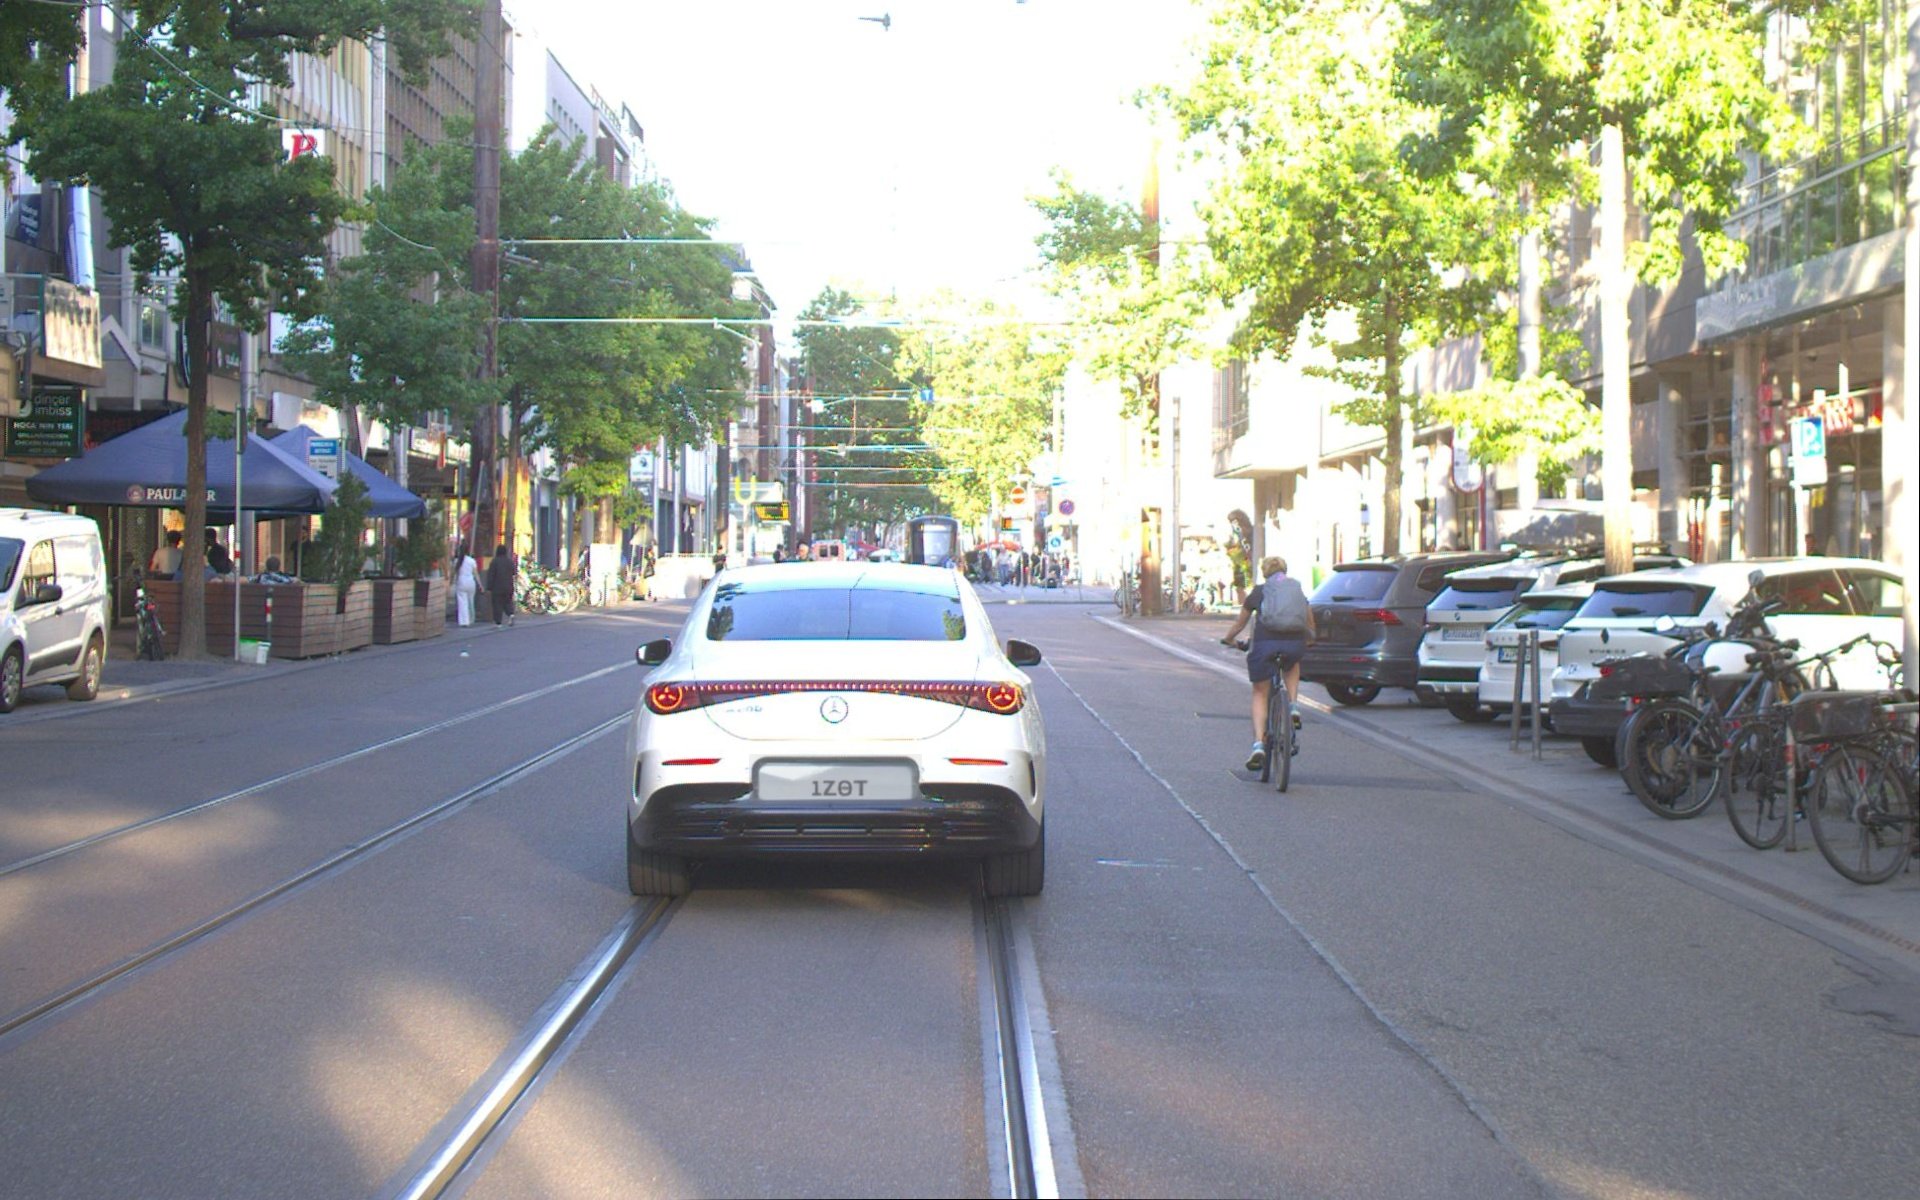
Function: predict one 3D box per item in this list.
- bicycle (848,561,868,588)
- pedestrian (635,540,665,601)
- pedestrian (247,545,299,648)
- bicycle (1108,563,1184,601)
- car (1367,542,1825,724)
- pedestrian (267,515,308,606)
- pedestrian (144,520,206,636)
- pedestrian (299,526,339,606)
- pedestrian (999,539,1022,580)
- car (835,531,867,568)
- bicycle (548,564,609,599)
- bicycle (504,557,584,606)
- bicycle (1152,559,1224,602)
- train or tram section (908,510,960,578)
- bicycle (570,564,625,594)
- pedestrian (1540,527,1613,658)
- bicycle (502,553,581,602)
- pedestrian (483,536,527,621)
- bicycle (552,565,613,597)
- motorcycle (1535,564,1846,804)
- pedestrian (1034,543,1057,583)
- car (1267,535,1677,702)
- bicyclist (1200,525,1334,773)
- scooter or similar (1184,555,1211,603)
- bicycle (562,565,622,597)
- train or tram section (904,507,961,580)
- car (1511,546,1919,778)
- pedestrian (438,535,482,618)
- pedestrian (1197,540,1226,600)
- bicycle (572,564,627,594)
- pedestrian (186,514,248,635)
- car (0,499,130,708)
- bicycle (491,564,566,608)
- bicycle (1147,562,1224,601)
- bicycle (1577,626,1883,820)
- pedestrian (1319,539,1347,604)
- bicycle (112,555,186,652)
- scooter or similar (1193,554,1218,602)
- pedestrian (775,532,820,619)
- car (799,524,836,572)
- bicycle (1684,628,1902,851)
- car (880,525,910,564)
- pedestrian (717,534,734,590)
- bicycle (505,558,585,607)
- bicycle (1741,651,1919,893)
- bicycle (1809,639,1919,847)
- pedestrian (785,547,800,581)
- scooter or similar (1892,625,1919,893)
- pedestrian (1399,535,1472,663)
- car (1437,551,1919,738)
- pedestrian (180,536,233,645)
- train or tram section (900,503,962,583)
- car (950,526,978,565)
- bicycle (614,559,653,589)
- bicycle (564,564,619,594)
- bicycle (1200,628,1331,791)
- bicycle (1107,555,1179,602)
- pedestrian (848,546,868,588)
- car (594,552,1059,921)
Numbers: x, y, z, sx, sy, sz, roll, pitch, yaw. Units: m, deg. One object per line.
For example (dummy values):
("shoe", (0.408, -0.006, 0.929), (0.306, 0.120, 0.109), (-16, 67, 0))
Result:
("bicycle", (-4.408, -1.107, 148.753), (0.800, 1.138, 2.257), (2, 1, -2))
("pedestrian", (-9.139, -0.881, 101.420), (0.788, 1.795, 0.844), (1, 1, 1))
("pedestrian", (-9.144, -0.055, 45.786), (0.549, 1.352, 0.583), (1, 1, -1))
("bicycle", (5.395, -0.527, 99.915), (2.113, 1.092, 0.610), (1, 0, -11))
("car", (6.312, 0.291, 34.004), (4.235, 1.582, 1.884), (-2, 1, -31))
("pedestrian", (-13.084, -0.773, 66.894), (0.597, 1.739, 0.671), (2, 1, 1))
("pedestrian", (-10.954, -0.310, 48.003), (0.673, 1.601, 0.720), (1, 1, -1))
("pedestrian", (-12.478, -0.665, 66.919), (0.597, 1.527, 0.671), (2, 1, 1))
("pedestrian", (2.269, -1.813, 154.231), (0.960, 1.779, 0.804), (-1, 1, 0))
("car", (-7.193, -3.331, 226.773), (1.910, 2.452, 5.275), (0, 1, 0))
("bicycle", (-9.683, -0.481, 87.229), (1.493, 0.838, 0.344), (2, 1, 1))
("bicycle", (-9.609, -0.426, 79.394), (1.788, 1.073, 0.377), (2, 1, -4))
("bicycle", (6.374, -0.542, 96.116), (1.907, 1.152, 0.610), (-1, 1, -11))
("train or tram section", (-1.354, -2.960, 181.890), (2.694, 3.504, 11.143), (0, 1, 0))
("bicycle", (-10.222, -0.587, 96.918), (1.493, 0.780, 0.344), (2, 1, 1))
("pedestrian", (8.218, -0.102, 45.816), (0.689, 1.725, 0.631), (-1, 1, 42))
("bicycle", (-10.173, -0.541, 83.620), (1.846, 1.137, 0.377), (2, 1, 1))
("pedestrian", (-8.458, -0.408, 63.909), (0.622, 1.545, 0.852), (3, 1, 0))
("bicycle", (-9.651, -0.485, 87.901), (1.493, 0.780, 0.344), (2, 1, 1))
("motorcycle", (4.986, 0.544, 23.370), (2.313, 1.504, 0.858), (-2, 0, -44))
("pedestrian", (3.858, -1.652, 154.440), (0.960, 1.779, 0.804), (-1, 1, 0))
("car", (5.676, 0.175, 37.941), (4.342, 1.646, 1.694), (-2, 1, -31))
("bicyclist", (2.087, 0.318, 23.273), (0.778, 1.607, 0.912), (3, 1, 9))
("scooter or similar", (6.360, -0.575, 92.186), (0.527, 1.273, 0.660), (-2, 1, -11))
("bicycle", (-9.473, -0.487, 88.552), (1.493, 0.780, 0.344), (2, 1, 1))
("train or tram section", (-1.321, -2.784, 170.049), (2.694, 3.504, 12.545), (0, 1, 0))
("car", (6.457, 0.416, 26.504), (4.146, 1.566, 1.854), (-3, 1, -33))
("pedestrian", (-9.257, -0.434, 63.645), (0.622, 1.504, 0.833), (3, 1, 0))
("pedestrian", (7.726, -0.926, 105.564), (0.701, 1.806, 1.033), (-3, 1, 0))
("bicycle", (-10.190, -0.598, 97.287), (1.493, 0.780, 0.344), (2, 1, 1))
("pedestrian", (-10.763, -0.367, 49.817), (0.717, 1.719, 0.675), (1, 1, -1))
("car", (-9.386, -0.039, 32.595), (1.795, 1.858, 4.553), (3, 1, 1))
("bicycle", (-9.611, -0.311, 76.607), (1.596, 0.927, 0.377), (2, 1, 7))
("bicycle", (6.510, -0.536, 99.241), (2.113, 1.092, 0.610), (0, 0, -13))
("bicycle", (4.891, 0.763, 21.806), (1.890, 1.116, 0.667), (-2, 0, -29))
("pedestrian", (9.428, -0.725, 86.916), (0.637, 1.647, 0.781), (1, 1, 1))
("bicycle", (-10.316, 0.034, 43.686), (0.697, 1.117, 2.087), (3, 1, -18))
("scooter or similar", (6.531, -0.586, 91.543), (0.491, 1.273, 0.660), (-2, 1, -11))
("pedestrian", (-3.397, -0.515, 71.886), (0.841, 1.795, 0.790), (2, 1, 1))
("car", (-8.616, -3.147, 207.994), (1.993, 2.887, 5.275), (0, 1, 0))
("bicycle", (4.820, 0.785, 19.825), (0.481, 1.159, 1.691), (-2, 1, 40))
("car", (-4.881, -4.183, 258.802), (2.099, 2.887, 5.275), (0, 1, 0))
("pedestrian", (-8.113, -1.321, 118.695), (0.571, 1.922, 0.541), (0, 1, -4))
("bicycle", (-9.641, -0.402, 79.850), (1.788, 1.073, 0.377), (2, 1, -4))
("bicycle", (4.902, 0.847, 17.610), (1.558, 1.084, 0.869), (-3, 3, -30))
("bicycle", (5.735, 0.772, 19.570), (1.689, 1.102, 0.632), (-3, 1, -26))
("pedestrian", (-7.908, -1.717, 162.201), (0.660, 1.593, 0.573), (0, 1, -1))
("scooter or similar", (4.799, 0.760, 16.051), (0.450, 1.272, 1.307), (-3, 1, -1))
("pedestrian", (6.354, -0.015, 45.912), (0.680, 1.679, 0.695), (-1, 1, 34))
("car", (6.591, 0.369, 31.299), (4.145, 1.494, 1.689), (-2, 1, -24))
("pedestrian", (-10.041, -0.128, 45.839), (0.549, 1.424, 0.583), (1, 1, -1))
("train or tram section", (-1.292, -2.593, 157.497), (2.694, 3.504, 12.545), (0, 1, 0))
("car", (0.317, -4.114, 259.096), (2.099, 2.887, 5.285), (0, 1, 0))
("bicycle", (-11.390, -0.907, 119.884), (0.719, 1.006, 2.038), (0, 1, 14))
("bicycle", (-10.344, -0.583, 96.555), (1.493, 0.780, 0.344), (2, 1, 1))
("bicycle", (2.112, 0.722, 23.546), (0.719, 0.992, 2.058), (3, 1, 9))
("bicycle", (5.165, -0.596, 96.930), (1.907, 1.277, 0.610), (-1, 1, -11))
("pedestrian", (-4.394, -1.415, 148.728), (0.800, 1.776, 0.849), (2, 1, -1))
("car", (-0.556, 0.528, 16.066), (1.857, 1.450, 4.175), (1, 1, 0))
